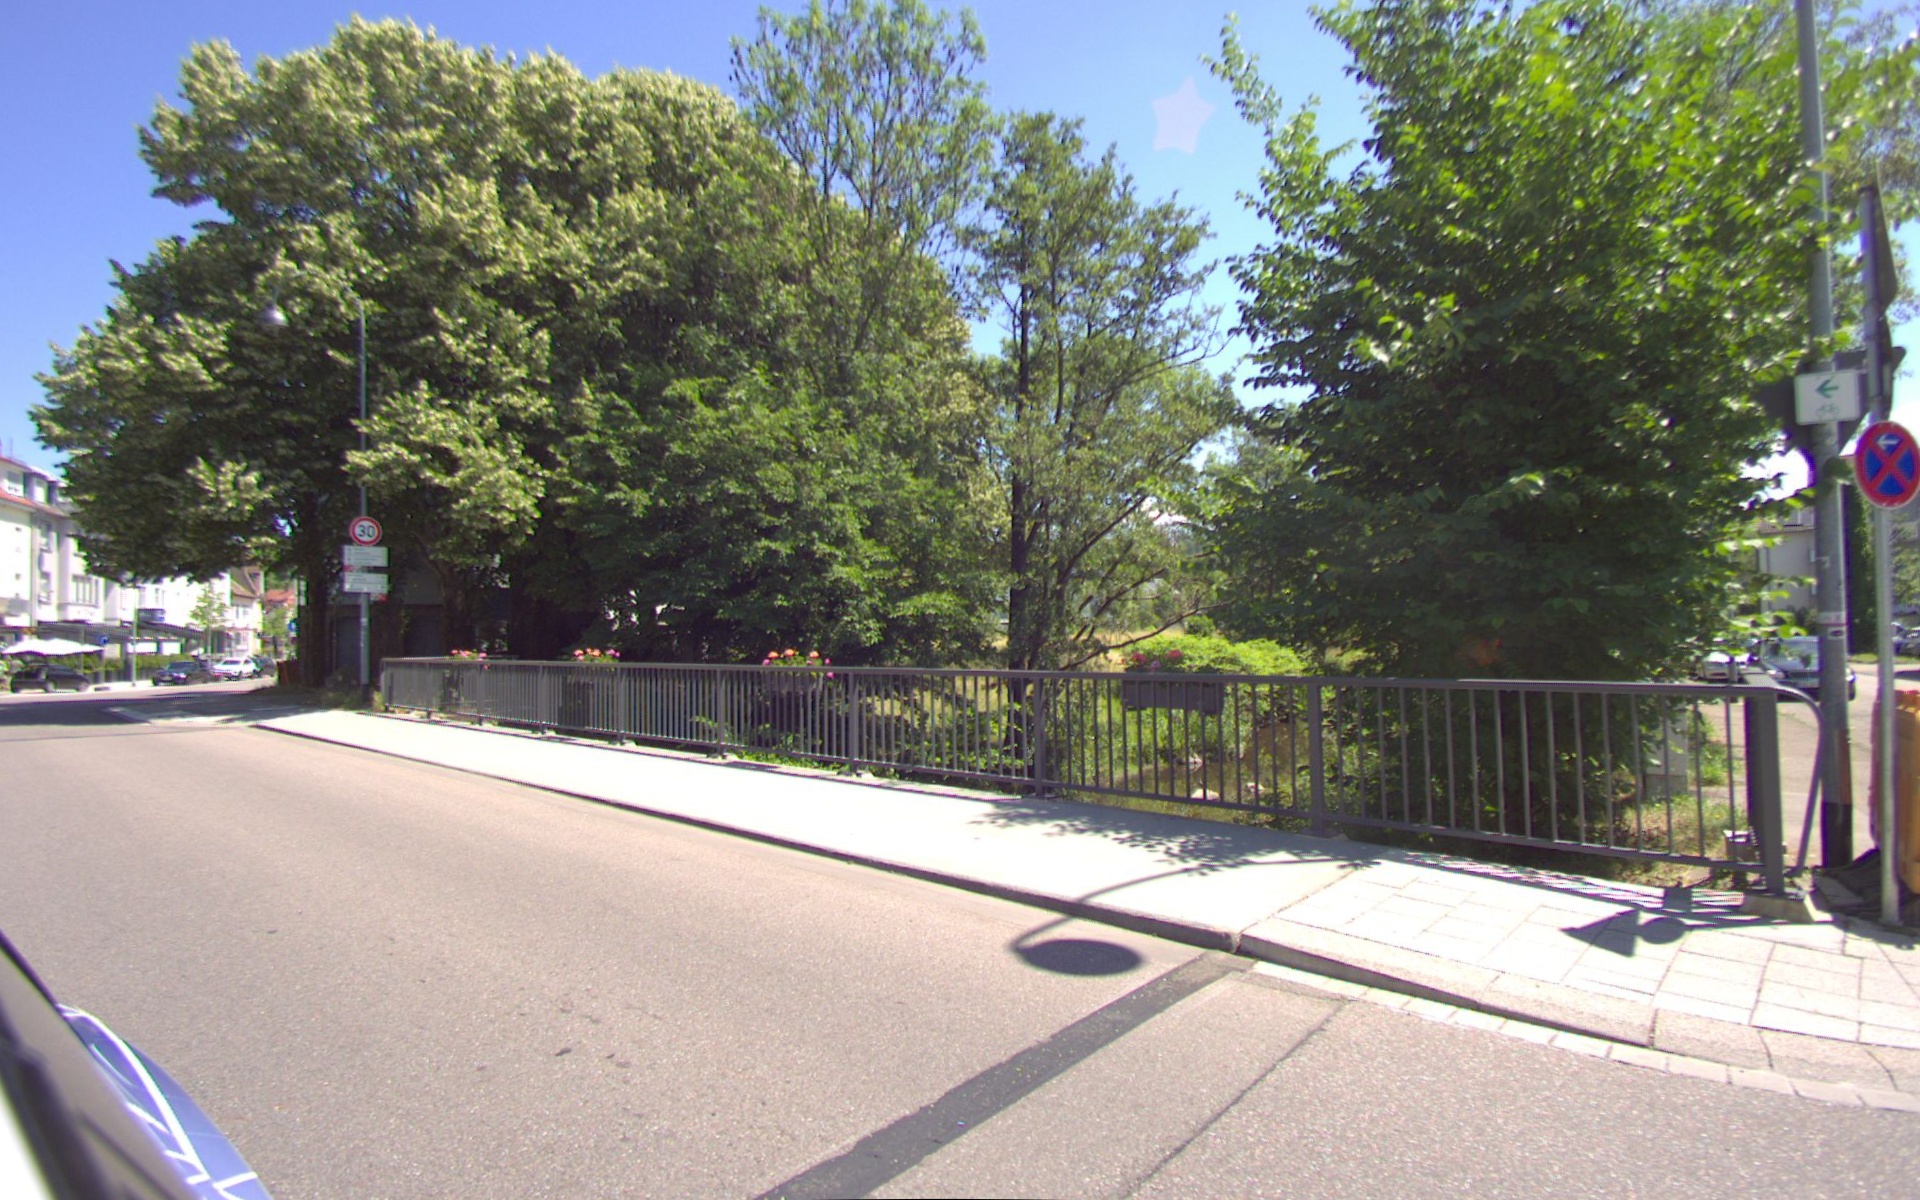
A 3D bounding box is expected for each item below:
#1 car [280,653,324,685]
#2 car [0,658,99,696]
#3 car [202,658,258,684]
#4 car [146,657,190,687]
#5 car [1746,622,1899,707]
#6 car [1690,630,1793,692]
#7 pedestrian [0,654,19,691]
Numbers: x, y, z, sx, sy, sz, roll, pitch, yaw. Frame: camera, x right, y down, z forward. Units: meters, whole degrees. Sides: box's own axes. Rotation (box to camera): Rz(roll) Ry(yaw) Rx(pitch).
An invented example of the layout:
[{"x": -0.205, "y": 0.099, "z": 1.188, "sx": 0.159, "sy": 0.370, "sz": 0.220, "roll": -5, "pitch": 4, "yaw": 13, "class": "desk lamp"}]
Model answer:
[{"x": -40.670, "y": 4.297, "z": 62.647, "sx": 1.965, "sy": 1.855, "sz": 4.012, "roll": 0, "pitch": -4, "yaw": -28, "class": "car"}, {"x": -45.768, "y": 3.809, "z": 50.623, "sx": 1.972, "sy": 1.729, "sz": 4.000, "roll": -1, "pitch": -2, "yaw": -1, "class": "car"}, {"x": -49.612, "y": 4.793, "z": 68.864, "sx": 1.965, "sy": 1.697, "sz": 4.012, "roll": 1, "pitch": -3, "yaw": -19, "class": "car"}, {"x": -47.675, "y": 4.345, "z": 60.890, "sx": 1.968, "sy": 1.729, "sz": 4.007, "roll": 3, "pitch": -6, "yaw": -39, "class": "car"}, {"x": 20.299, "y": 1.481, "z": 24.048, "sx": 1.993, "sy": 1.815, "sz": 4.391, "roll": -2, "pitch": -3, "yaw": 31, "class": "car"}, {"x": 24.568, "y": 1.877, "z": 31.984, "sx": 1.993, "sy": 1.815, "sz": 4.391, "roll": -2, "pitch": -3, "yaw": 31, "class": "car"}, {"x": -47.194, "y": 3.574, "z": 49.976, "sx": 0.802, "sy": 1.769, "sz": 0.637, "roll": 2, "pitch": -3, "yaw": -26, "class": "pedestrian"}]
